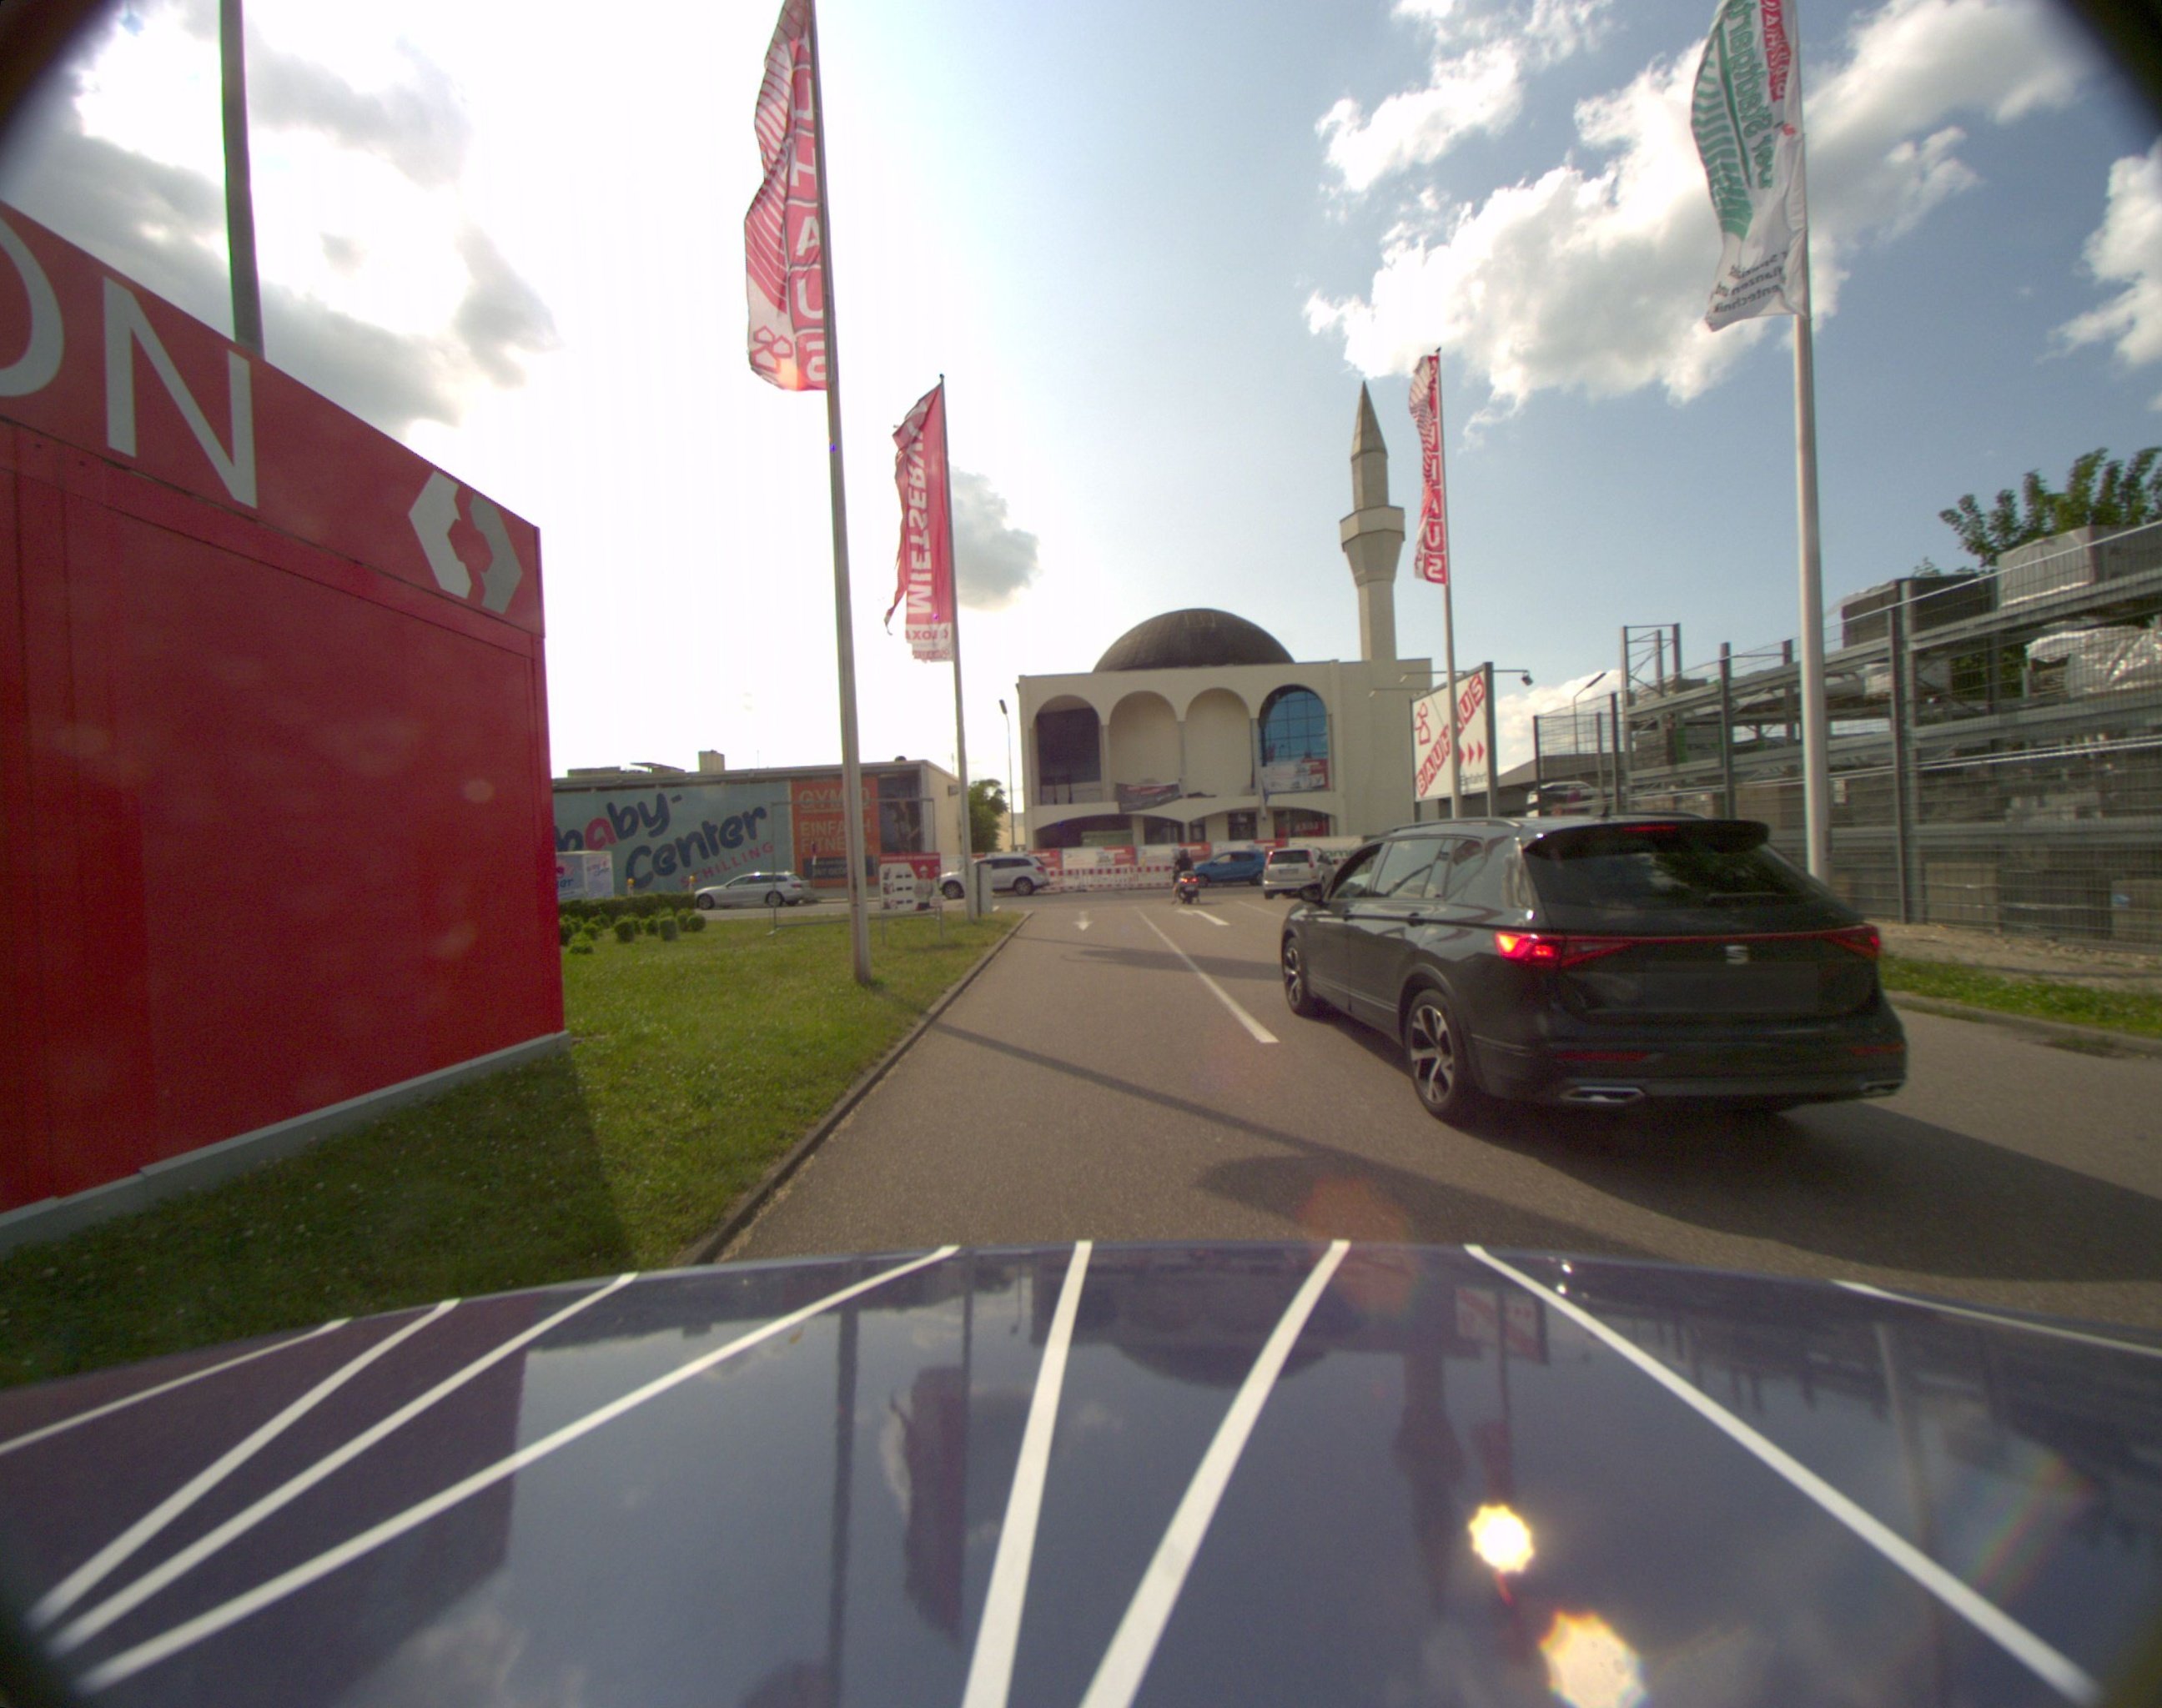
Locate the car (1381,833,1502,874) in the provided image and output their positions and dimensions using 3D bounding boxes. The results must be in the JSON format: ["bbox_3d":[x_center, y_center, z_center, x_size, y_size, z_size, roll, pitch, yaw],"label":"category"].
[{"bbox_3d":[15.107,-0.023,31.980,4.190,1.500,1.792,-3,0,2],"label":"car"}]

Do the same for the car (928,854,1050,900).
[{"bbox_3d":[-3.762,0.932,31.679,4.836,1.689,1.868,-2,-1,-2],"label":"car"}]

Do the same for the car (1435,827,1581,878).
[{"bbox_3d":[15.955,-0.016,28.578,4.381,1.655,1.771,-2,-2,3],"label":"car"}]

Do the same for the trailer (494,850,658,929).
[{"bbox_3d":[-17.220,1.165,26.048,4.274,2.406,1.768,-2,3,0],"label":"trailer"}]

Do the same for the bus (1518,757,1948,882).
[{"bbox_3d":[21.277,-1.076,25.309,11.559,3.345,2.893,-3,0,2],"label":"bus"}]

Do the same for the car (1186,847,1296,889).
[{"bbox_3d":[6.587,0.580,31.619,4.193,1.505,1.697,-3,0,1],"label":"car"}]

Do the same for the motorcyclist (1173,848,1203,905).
[{"bbox_3d":[3.177,0.659,22.633,0.788,1.619,0.686,-3,1,4],"label":"motorcyclist"}]

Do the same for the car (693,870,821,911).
[{"bbox_3d":[-13.686,1.518,32.260,4.613,1.471,1.771,-3,-1,3],"label":"car"}]

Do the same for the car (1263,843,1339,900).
[{"bbox_3d":[7.075,0.501,24.124,1.719,1.555,4.216,-3,0,24],"label":"car"}]

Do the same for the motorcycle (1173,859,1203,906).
[{"bbox_3d":[3.192,0.816,22.732,0.671,1.298,2.213,-3,0,4],"label":"motorcycle"}]

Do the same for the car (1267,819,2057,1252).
[{"bbox_3d":[2.797,0.717,5.132,1.920,1.608,4.373,-2,0,-1],"label":"car"}]
